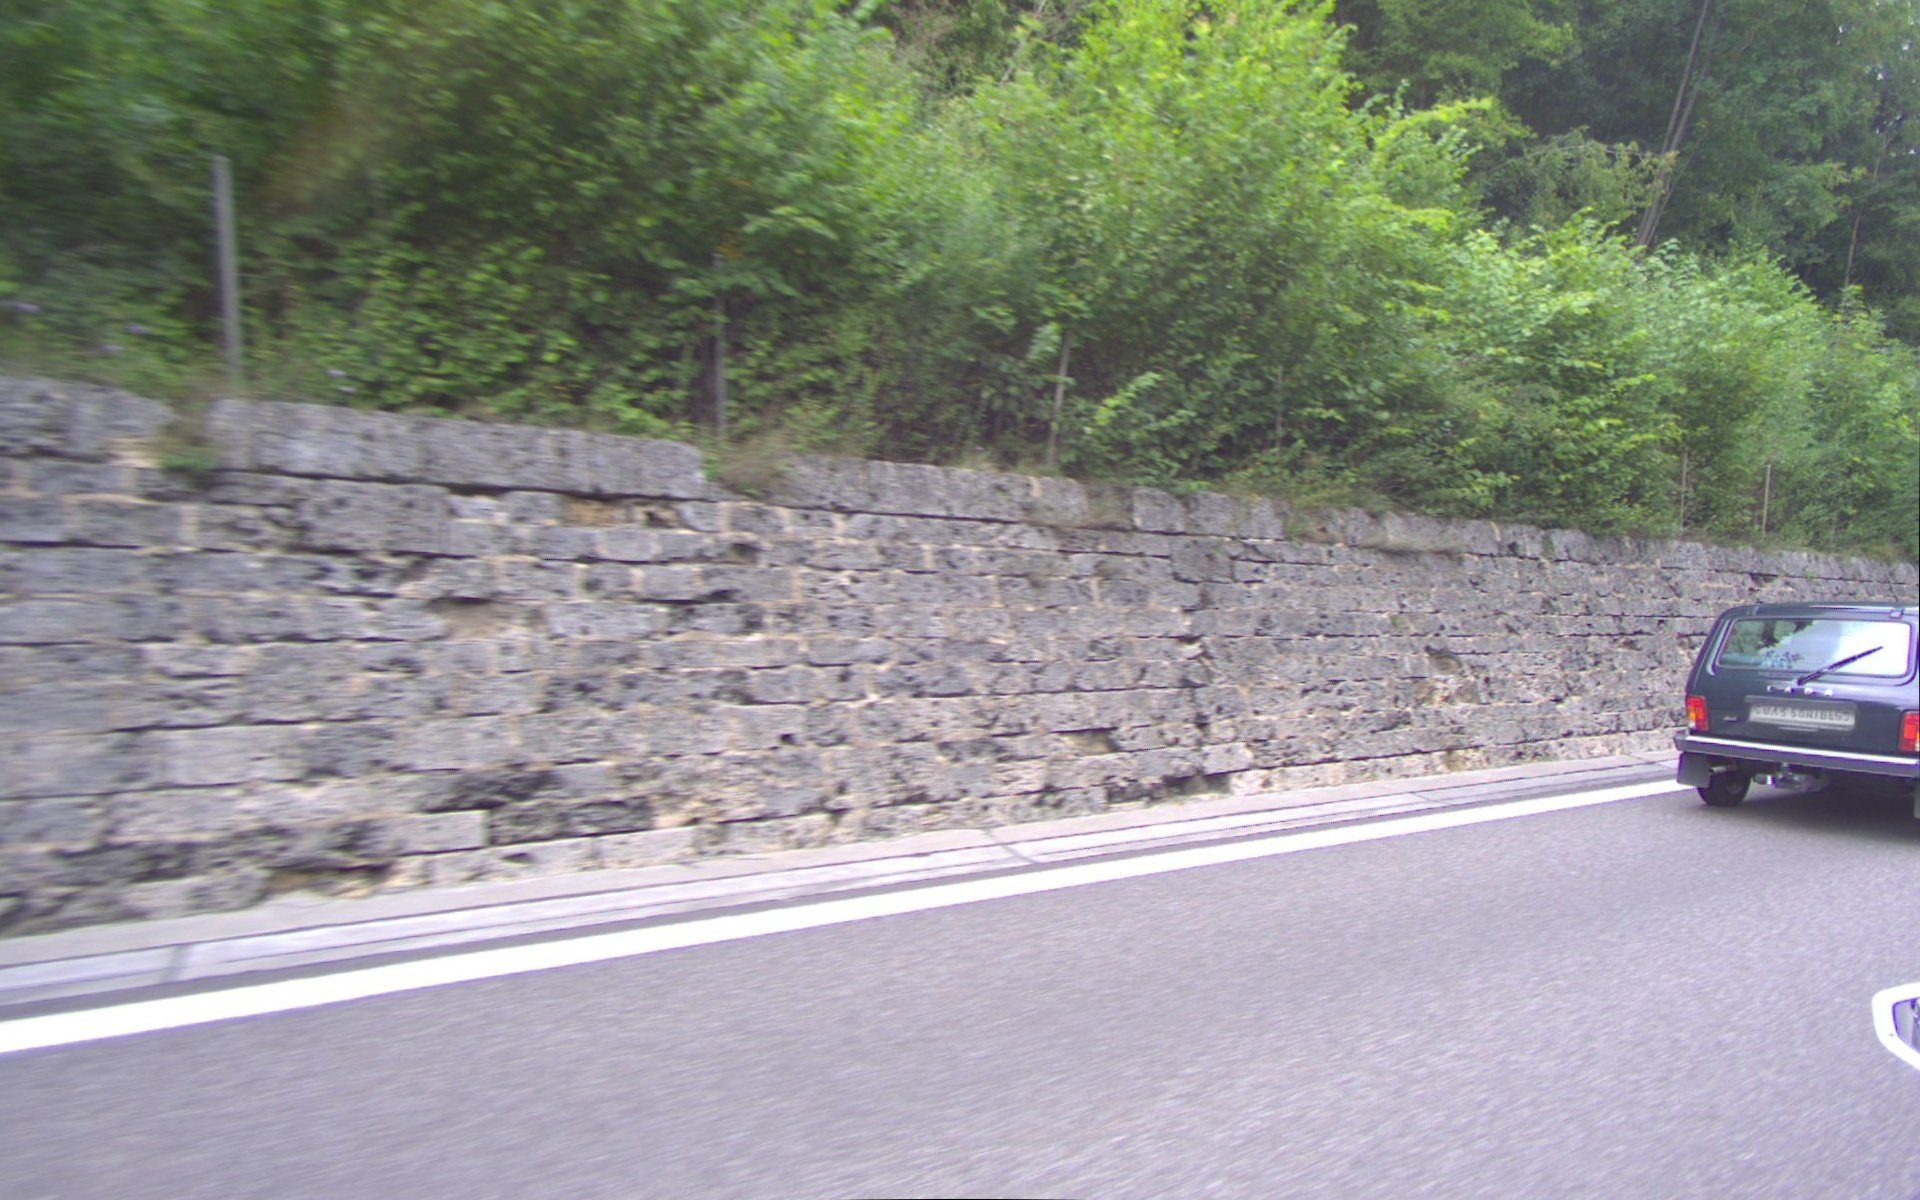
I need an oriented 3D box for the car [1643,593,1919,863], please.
[{"bbox_3d":[7.302,0.831,7.855,4.020,1.660,1.661,2,0,-30],"label":"car"}]
